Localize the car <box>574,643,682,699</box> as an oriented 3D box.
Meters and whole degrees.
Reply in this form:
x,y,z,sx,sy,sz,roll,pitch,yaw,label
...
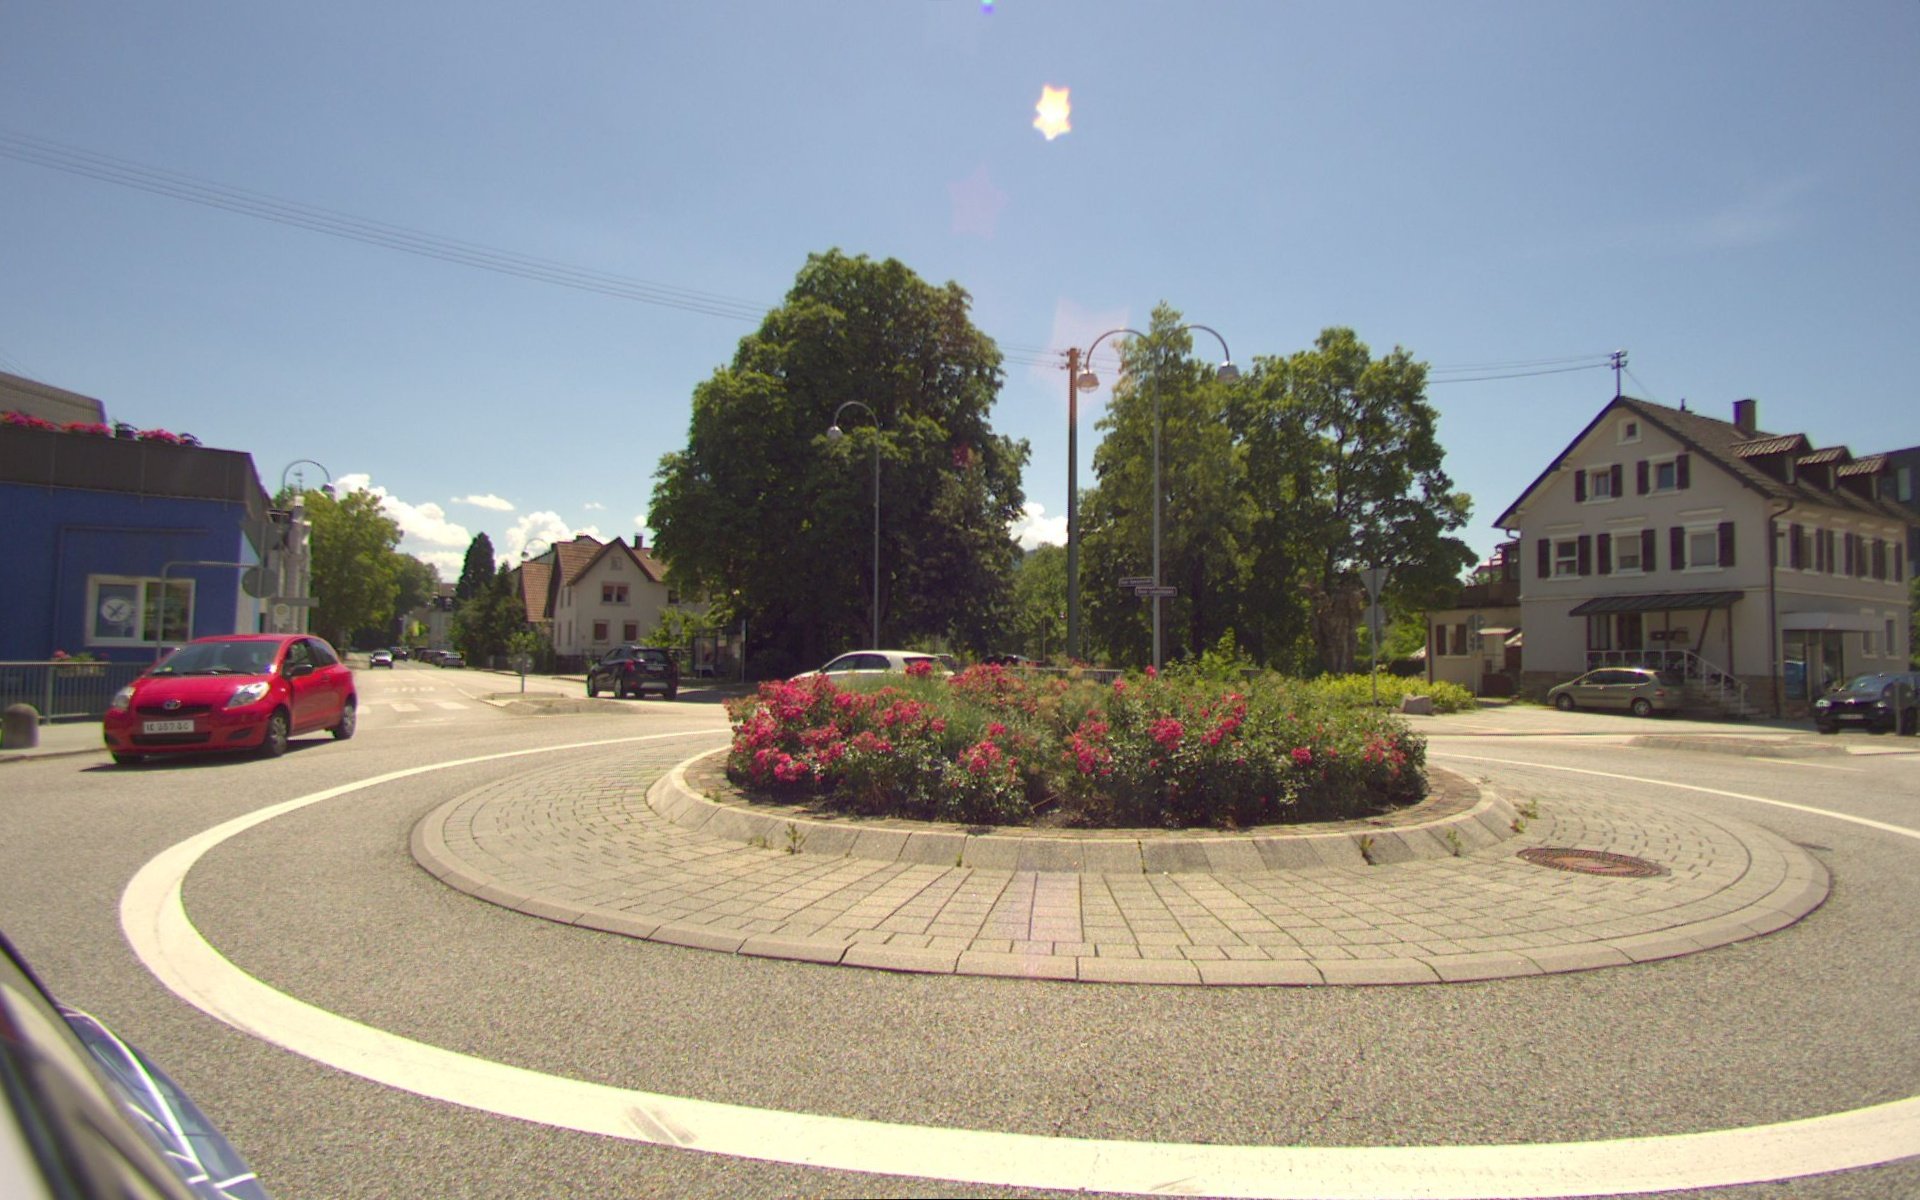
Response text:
x,y,z,sx,sy,sz,roll,pitch,yaw,label
-10.298,2.198,31.236,1.967,1.574,4.175,3,-5,-36,car

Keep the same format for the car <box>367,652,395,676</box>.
x,y,z,sx,sy,sz,roll,pitch,yaw,label
-53.054,5.864,92.660,1.966,2.029,4.011,4,-7,-32,car

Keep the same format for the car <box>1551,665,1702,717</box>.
x,y,z,sx,sy,sz,roll,pitch,yaw,label
22.971,3.116,35.034,1.764,1.608,4.013,4,-4,-27,car

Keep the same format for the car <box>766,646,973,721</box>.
x,y,z,sx,sy,sz,roll,pitch,yaw,label
-1.990,1.729,21.537,4.284,1.392,1.907,-1,-5,40,car

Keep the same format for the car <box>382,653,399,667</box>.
x,y,z,sx,sy,sz,roll,pitch,yaw,label
-77.629,8.210,137.888,1.711,1.719,4.010,2,-6,-34,car

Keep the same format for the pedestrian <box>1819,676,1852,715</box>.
x,y,z,sx,sy,sz,roll,pitch,yaw,label
30.545,3.323,35.318,0.571,1.296,0.687,3,-4,-32,pedestrian

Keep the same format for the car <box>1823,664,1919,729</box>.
x,y,z,sx,sy,sz,roll,pitch,yaw,label
24.399,2.484,26.362,3.532,1.558,1.760,2,-4,-29,car

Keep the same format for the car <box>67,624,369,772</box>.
x,y,z,sx,sy,sz,roll,pitch,yaw,label
-9.219,1.143,13.024,1.804,1.545,4.011,-1,-2,-15,car

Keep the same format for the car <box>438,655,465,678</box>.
x,y,z,sx,sy,sz,roll,pitch,yaw,label
-50.007,6.543,99.487,1.966,2.029,4.011,4,-7,-32,car

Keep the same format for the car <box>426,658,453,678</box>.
x,y,z,sx,sy,sz,roll,pitch,yaw,label
-55.963,7.330,108.707,1.967,2.029,4.009,5,-8,-35,car

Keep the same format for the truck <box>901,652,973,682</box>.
x,y,z,sx,sy,sz,roll,pitch,yaw,label
-1.980,5.900,88.560,6.132,2.462,2.264,0,-6,1,truck
